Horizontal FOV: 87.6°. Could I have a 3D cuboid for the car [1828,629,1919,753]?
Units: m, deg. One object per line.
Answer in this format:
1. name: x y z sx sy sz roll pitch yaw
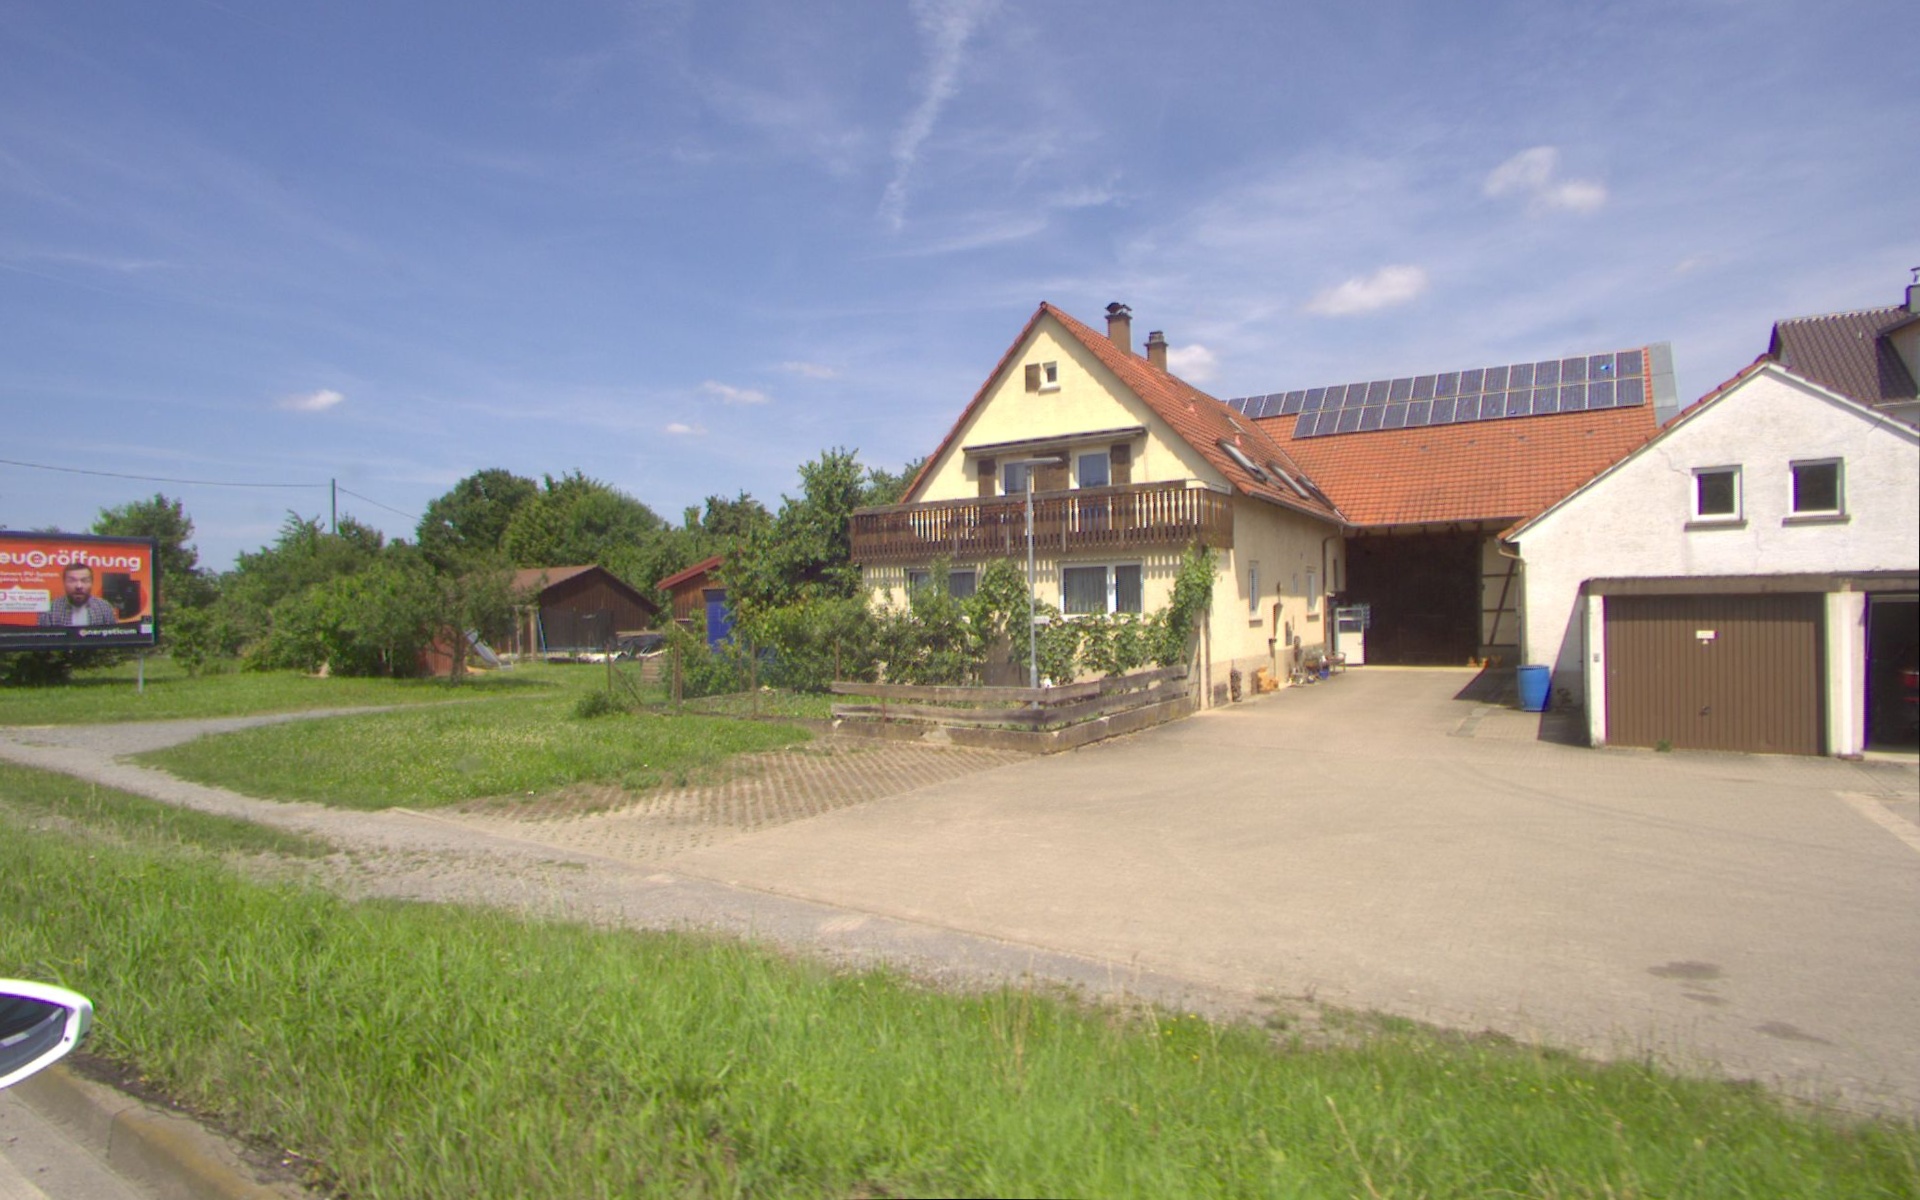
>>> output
1. car: 14.706 1.284 15.109 1.808 1.599 3.979 -1 -1 32
